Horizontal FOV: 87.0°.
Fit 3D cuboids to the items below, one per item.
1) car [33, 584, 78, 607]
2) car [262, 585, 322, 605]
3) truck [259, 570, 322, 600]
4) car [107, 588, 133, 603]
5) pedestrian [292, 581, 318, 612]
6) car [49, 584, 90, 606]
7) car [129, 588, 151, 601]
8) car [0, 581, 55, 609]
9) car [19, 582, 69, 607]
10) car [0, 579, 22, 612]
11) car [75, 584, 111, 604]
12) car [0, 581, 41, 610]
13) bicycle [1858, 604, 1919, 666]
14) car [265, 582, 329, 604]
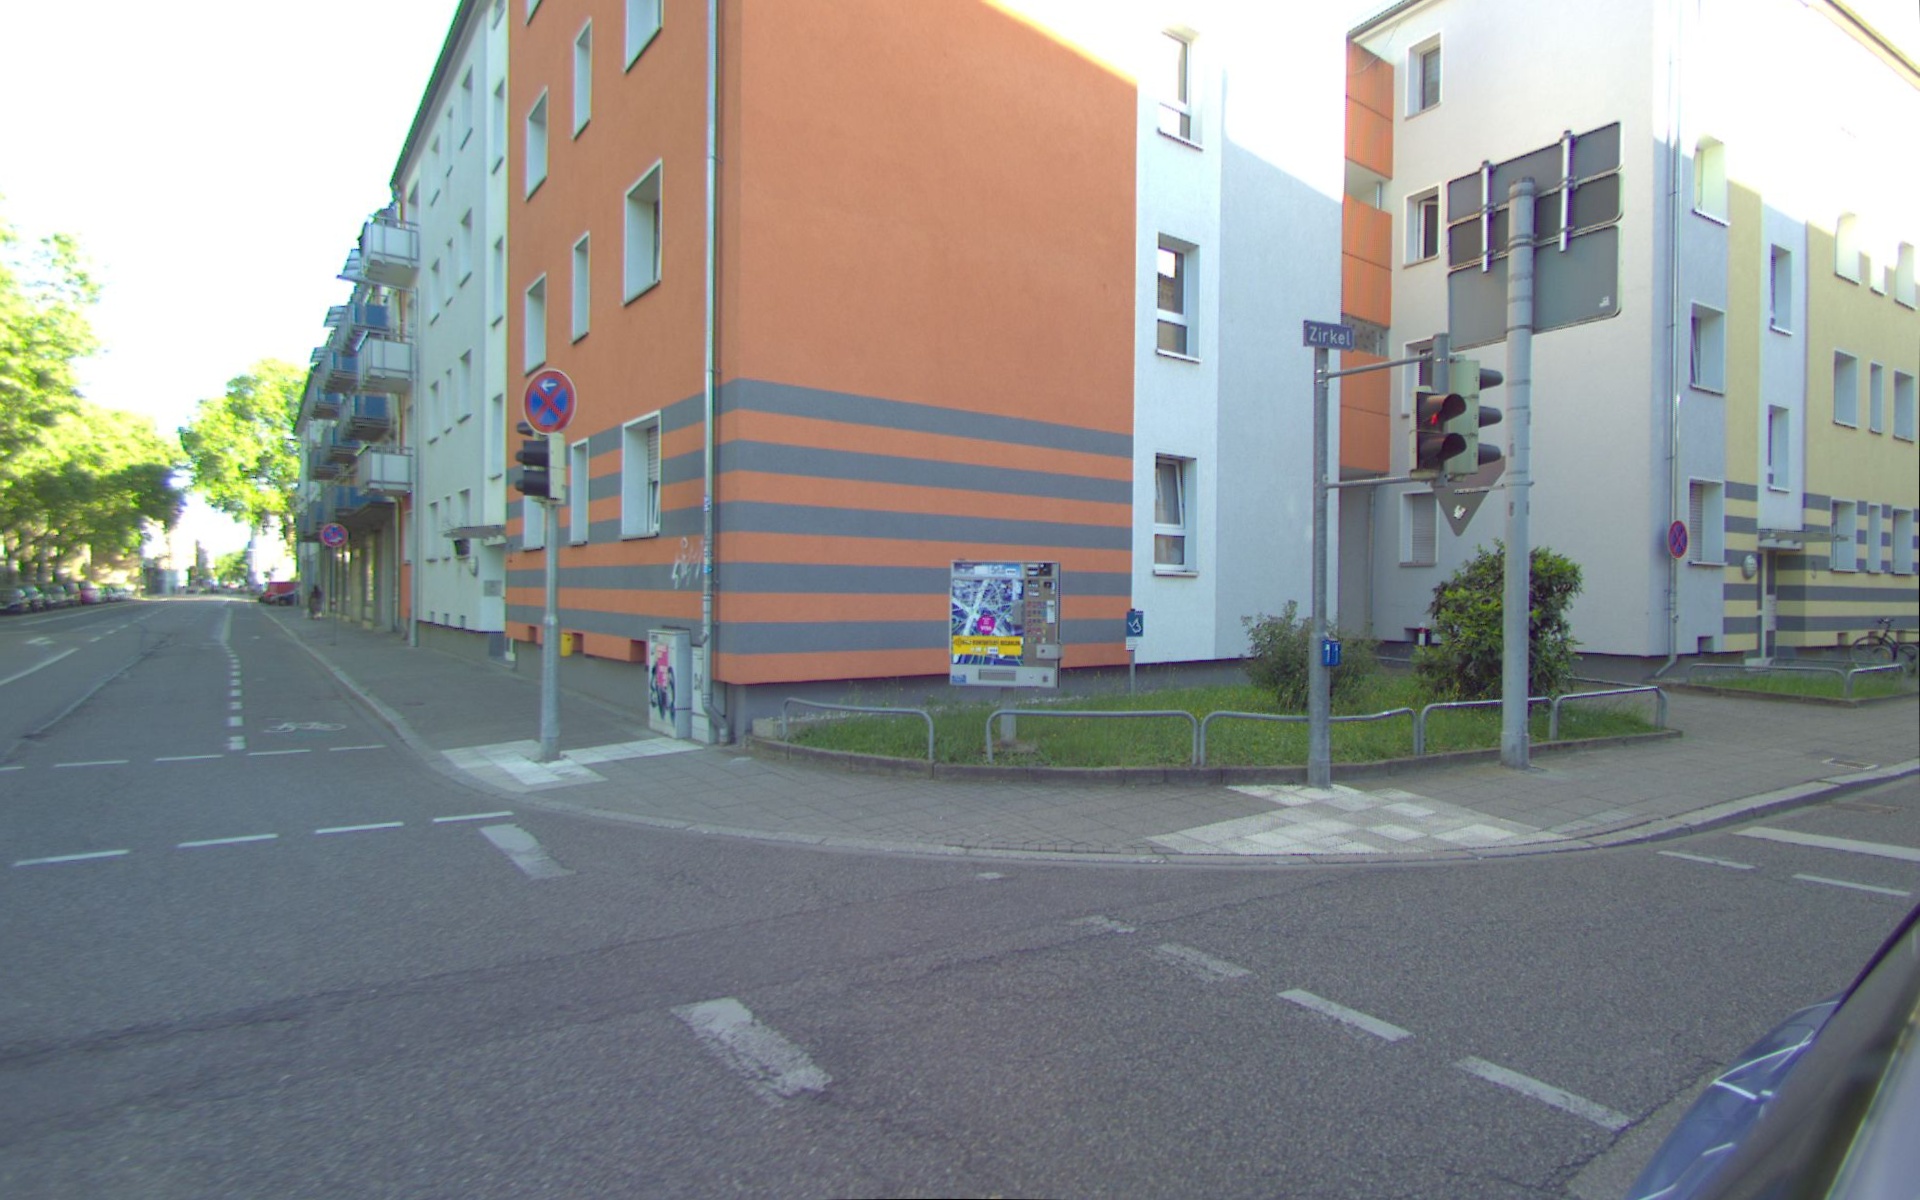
[{"bbox_3d":[-62.144,-0.330,69.609,1.855,1.565,3.999,-1,1,-36],"label":"car"},{"bbox_3d":[-53.654,-0.388,81.331,3.926,1.569,1.801,-1,-1,-37],"label":"car"},{"bbox_3d":[-56.798,-1.296,85.842,4.363,2.478,1.801,-1,-1,-37],"label":"truck"},{"bbox_3d":[-91.920,-0.516,110.807,1.855,1.565,3.999,-1,1,-36],"label":"car"},{"bbox_3d":[-29.629,-0.158,45.772,0.931,1.411,0.954,0,0,-36],"label":"pedestrian"},{"bbox_3d":[-65.066,-0.366,74.009,1.855,1.565,3.999,-1,1,-36],"label":"car"},{"bbox_3d":[-101.093,-0.722,124.742,1.855,1.565,3.999,-1,1,-36],"label":"car"},{"bbox_3d":[-54.824,-0.320,59.558,1.855,1.565,3.999,-1,1,-36],"label":"car"},{"bbox_3d":[-57.691,-0.349,63.806,1.855,1.565,3.999,-1,1,-36],"label":"car"},{"bbox_3d":[-47.947,-0.214,49.972,1.855,1.565,3.999,-1,1,-36],"label":"car"},{"bbox_3d":[-70.799,-0.491,82.653,1.855,1.565,3.999,-1,1,-36],"label":"car"},{"bbox_3d":[-51.972,-0.246,55.481,1.855,1.565,3.999,-1,1,-36],"label":"car"},{"bbox_3d":[17.537,0.653,18.339,0.572,1.062,1.778,0,3,-35],"label":"bicycle"},{"bbox_3d":[-49.489,-0.507,75.580,3.926,1.569,1.801,-1,-1,-37],"label":"car"}]
